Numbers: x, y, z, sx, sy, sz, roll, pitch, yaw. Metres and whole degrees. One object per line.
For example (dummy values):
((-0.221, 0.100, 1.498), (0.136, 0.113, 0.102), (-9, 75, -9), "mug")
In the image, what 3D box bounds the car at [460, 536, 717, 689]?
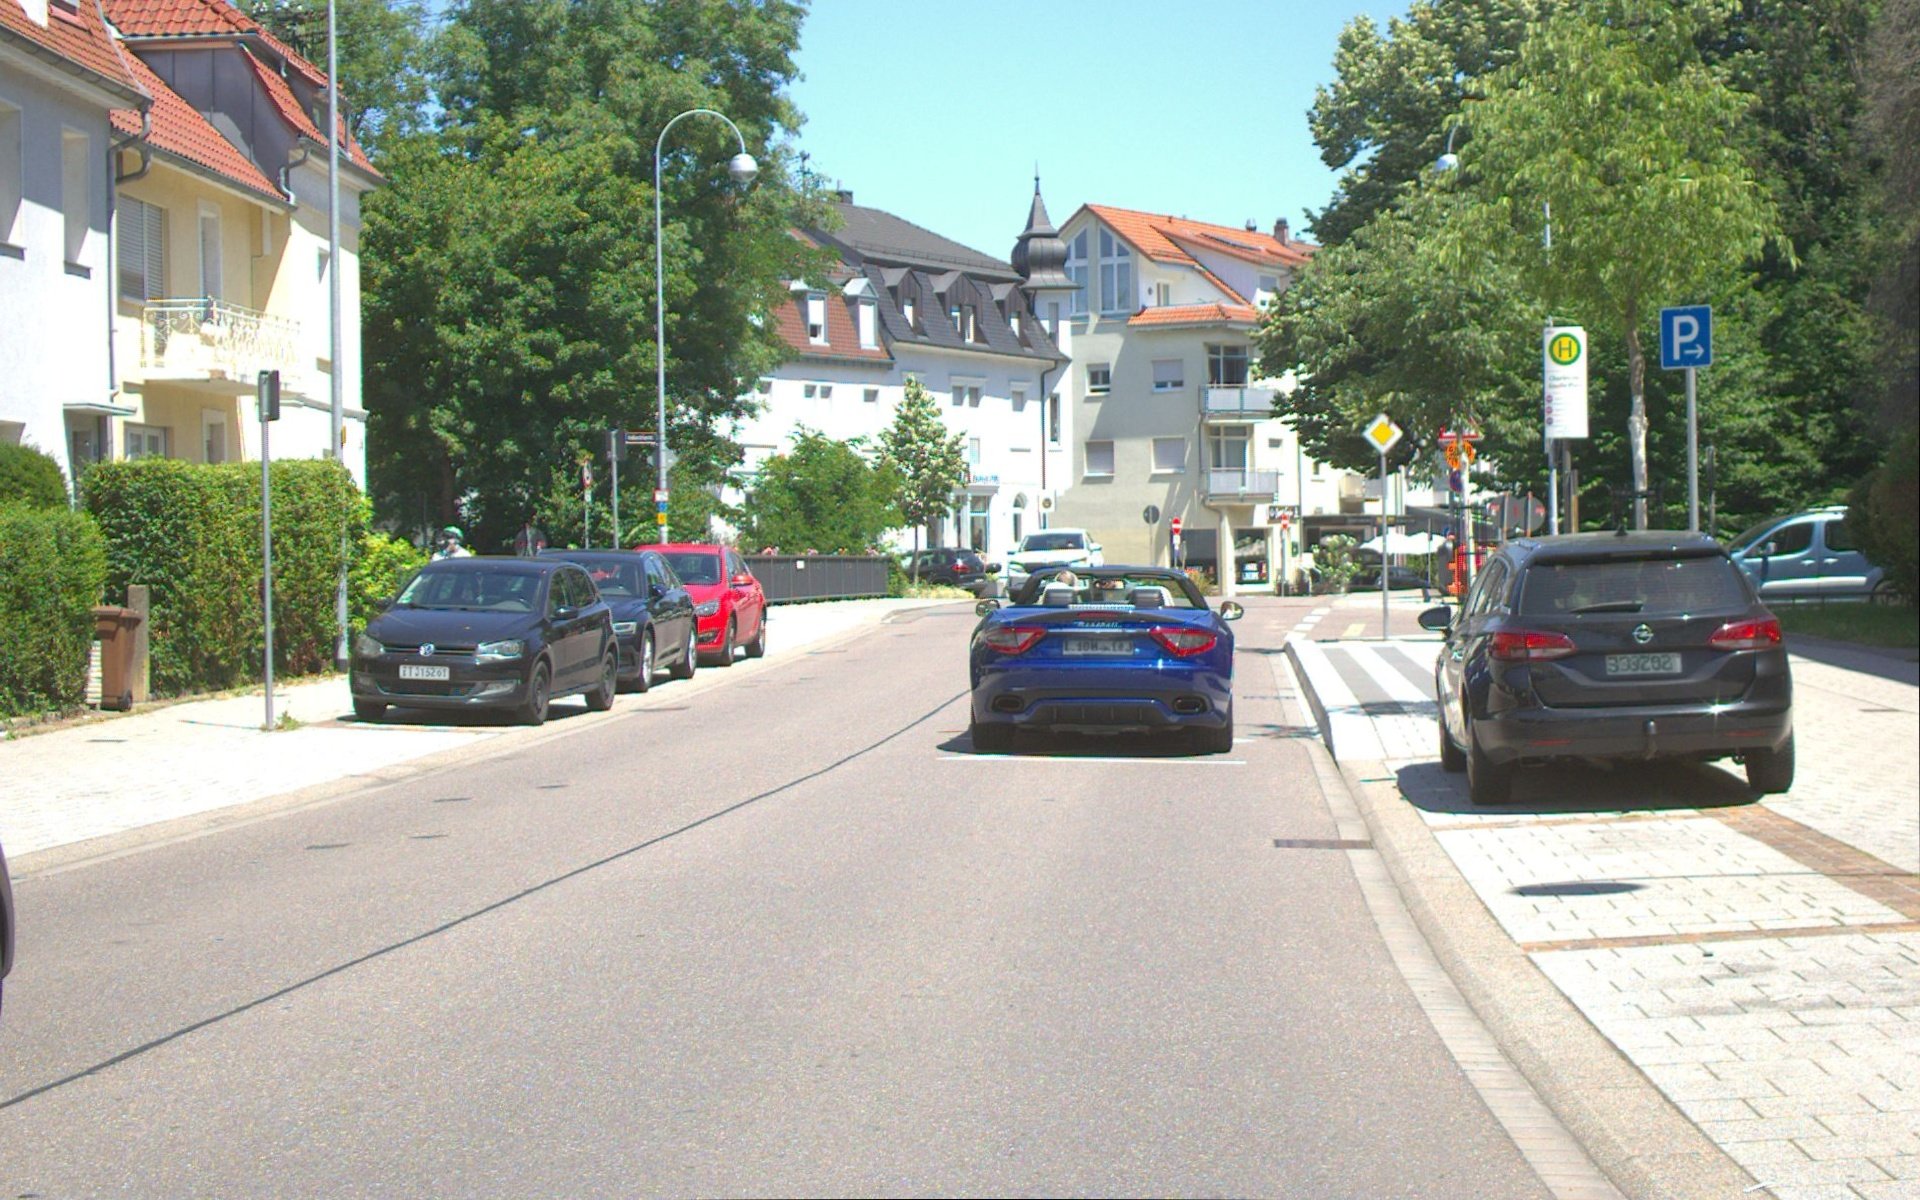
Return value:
((-3.980, 0.077, 37.702), (1.863, 1.456, 5.306), (1, 2, 4), "car")

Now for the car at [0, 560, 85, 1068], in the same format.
((-3.717, 0.671, 8.315), (1.731, 1.407, 3.999), (-2, 1, 7), "car")

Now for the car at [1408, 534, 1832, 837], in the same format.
((3.762, 0.401, 20.419), (1.834, 1.499, 5.063), (-3, 1, 4), "car")

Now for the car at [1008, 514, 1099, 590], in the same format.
((2.130, -1.096, 77.384), (1.878, 1.591, 4.359), (-2, 1, 3), "car")

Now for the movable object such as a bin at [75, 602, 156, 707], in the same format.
((-7.565, 0.482, 30.802), (0.494, 0.908, 0.706), (-1, 1, 5), "movable object such as a bin")

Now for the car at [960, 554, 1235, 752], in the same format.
((1.128, 0.343, 26.007), (1.871, 1.337, 4.595), (1, 1, 5), "car")

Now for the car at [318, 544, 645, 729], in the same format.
((-4.261, 0.271, 31.274), (1.788, 1.454, 4.196), (2, 2, 8), "car")

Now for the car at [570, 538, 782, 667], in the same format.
((-3.532, -0.013, 43.605), (1.878, 1.474, 4.737), (2, 1, 5), "car")

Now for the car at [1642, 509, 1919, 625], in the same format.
((13.743, -0.544, 57.287), (4.337, 1.832, 1.750), (1, 0, -3), "car")

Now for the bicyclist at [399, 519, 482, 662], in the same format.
((-6.079, -0.115, 40.247), (0.782, 1.653, 0.835), (-1, 1, 3), "bicyclist")

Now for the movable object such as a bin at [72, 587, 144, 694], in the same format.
((-8.010, 0.376, 32.348), (0.467, 0.987, 0.614), (-1, 1, 5), "movable object such as a bin")
